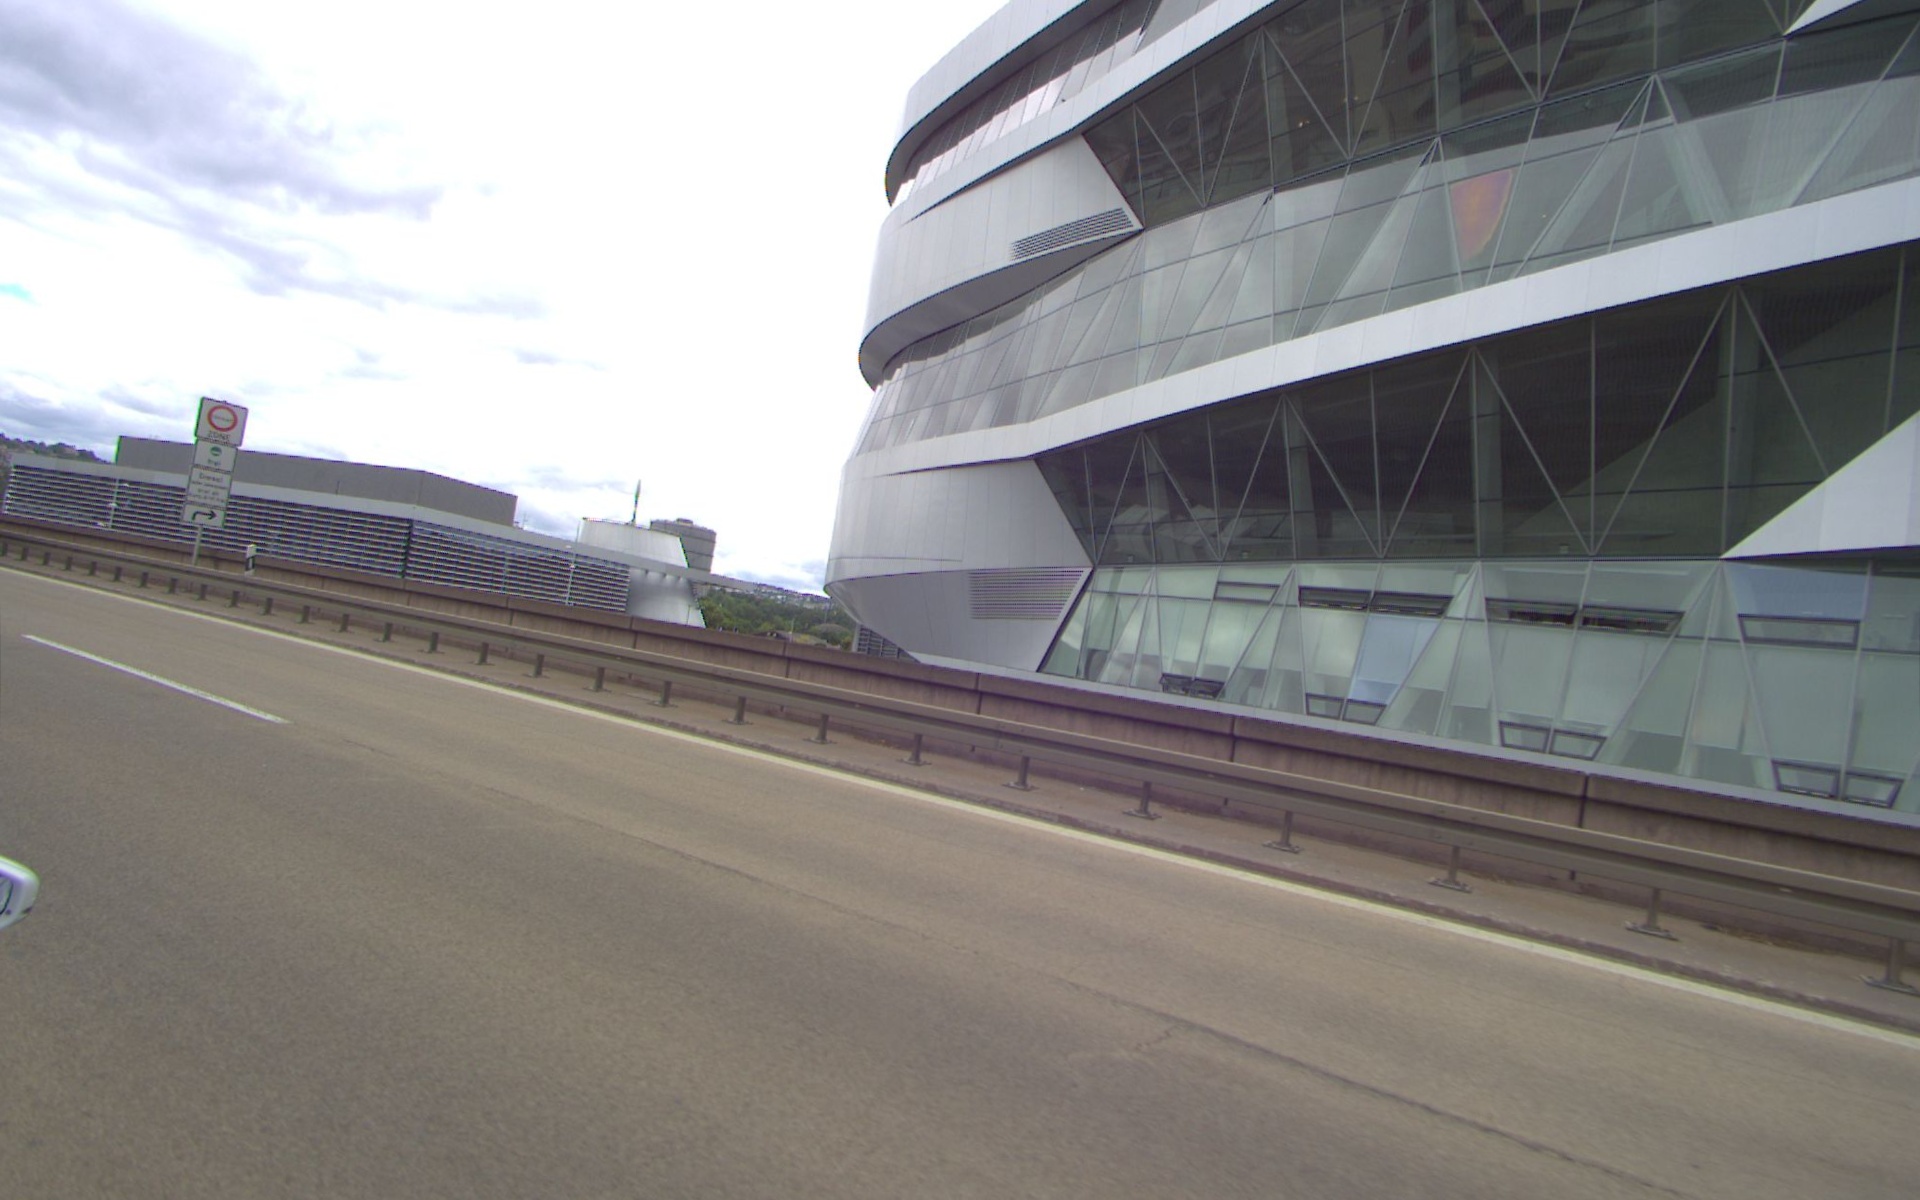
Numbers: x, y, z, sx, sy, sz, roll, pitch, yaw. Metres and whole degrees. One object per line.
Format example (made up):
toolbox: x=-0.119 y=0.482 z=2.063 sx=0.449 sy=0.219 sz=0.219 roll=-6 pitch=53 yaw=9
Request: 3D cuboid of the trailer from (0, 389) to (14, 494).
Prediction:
trailer: x=-25.442 y=-3.242 z=23.004 sx=8.164 sy=3.834 sz=3.064 roll=6 pitch=-2 yaw=30
